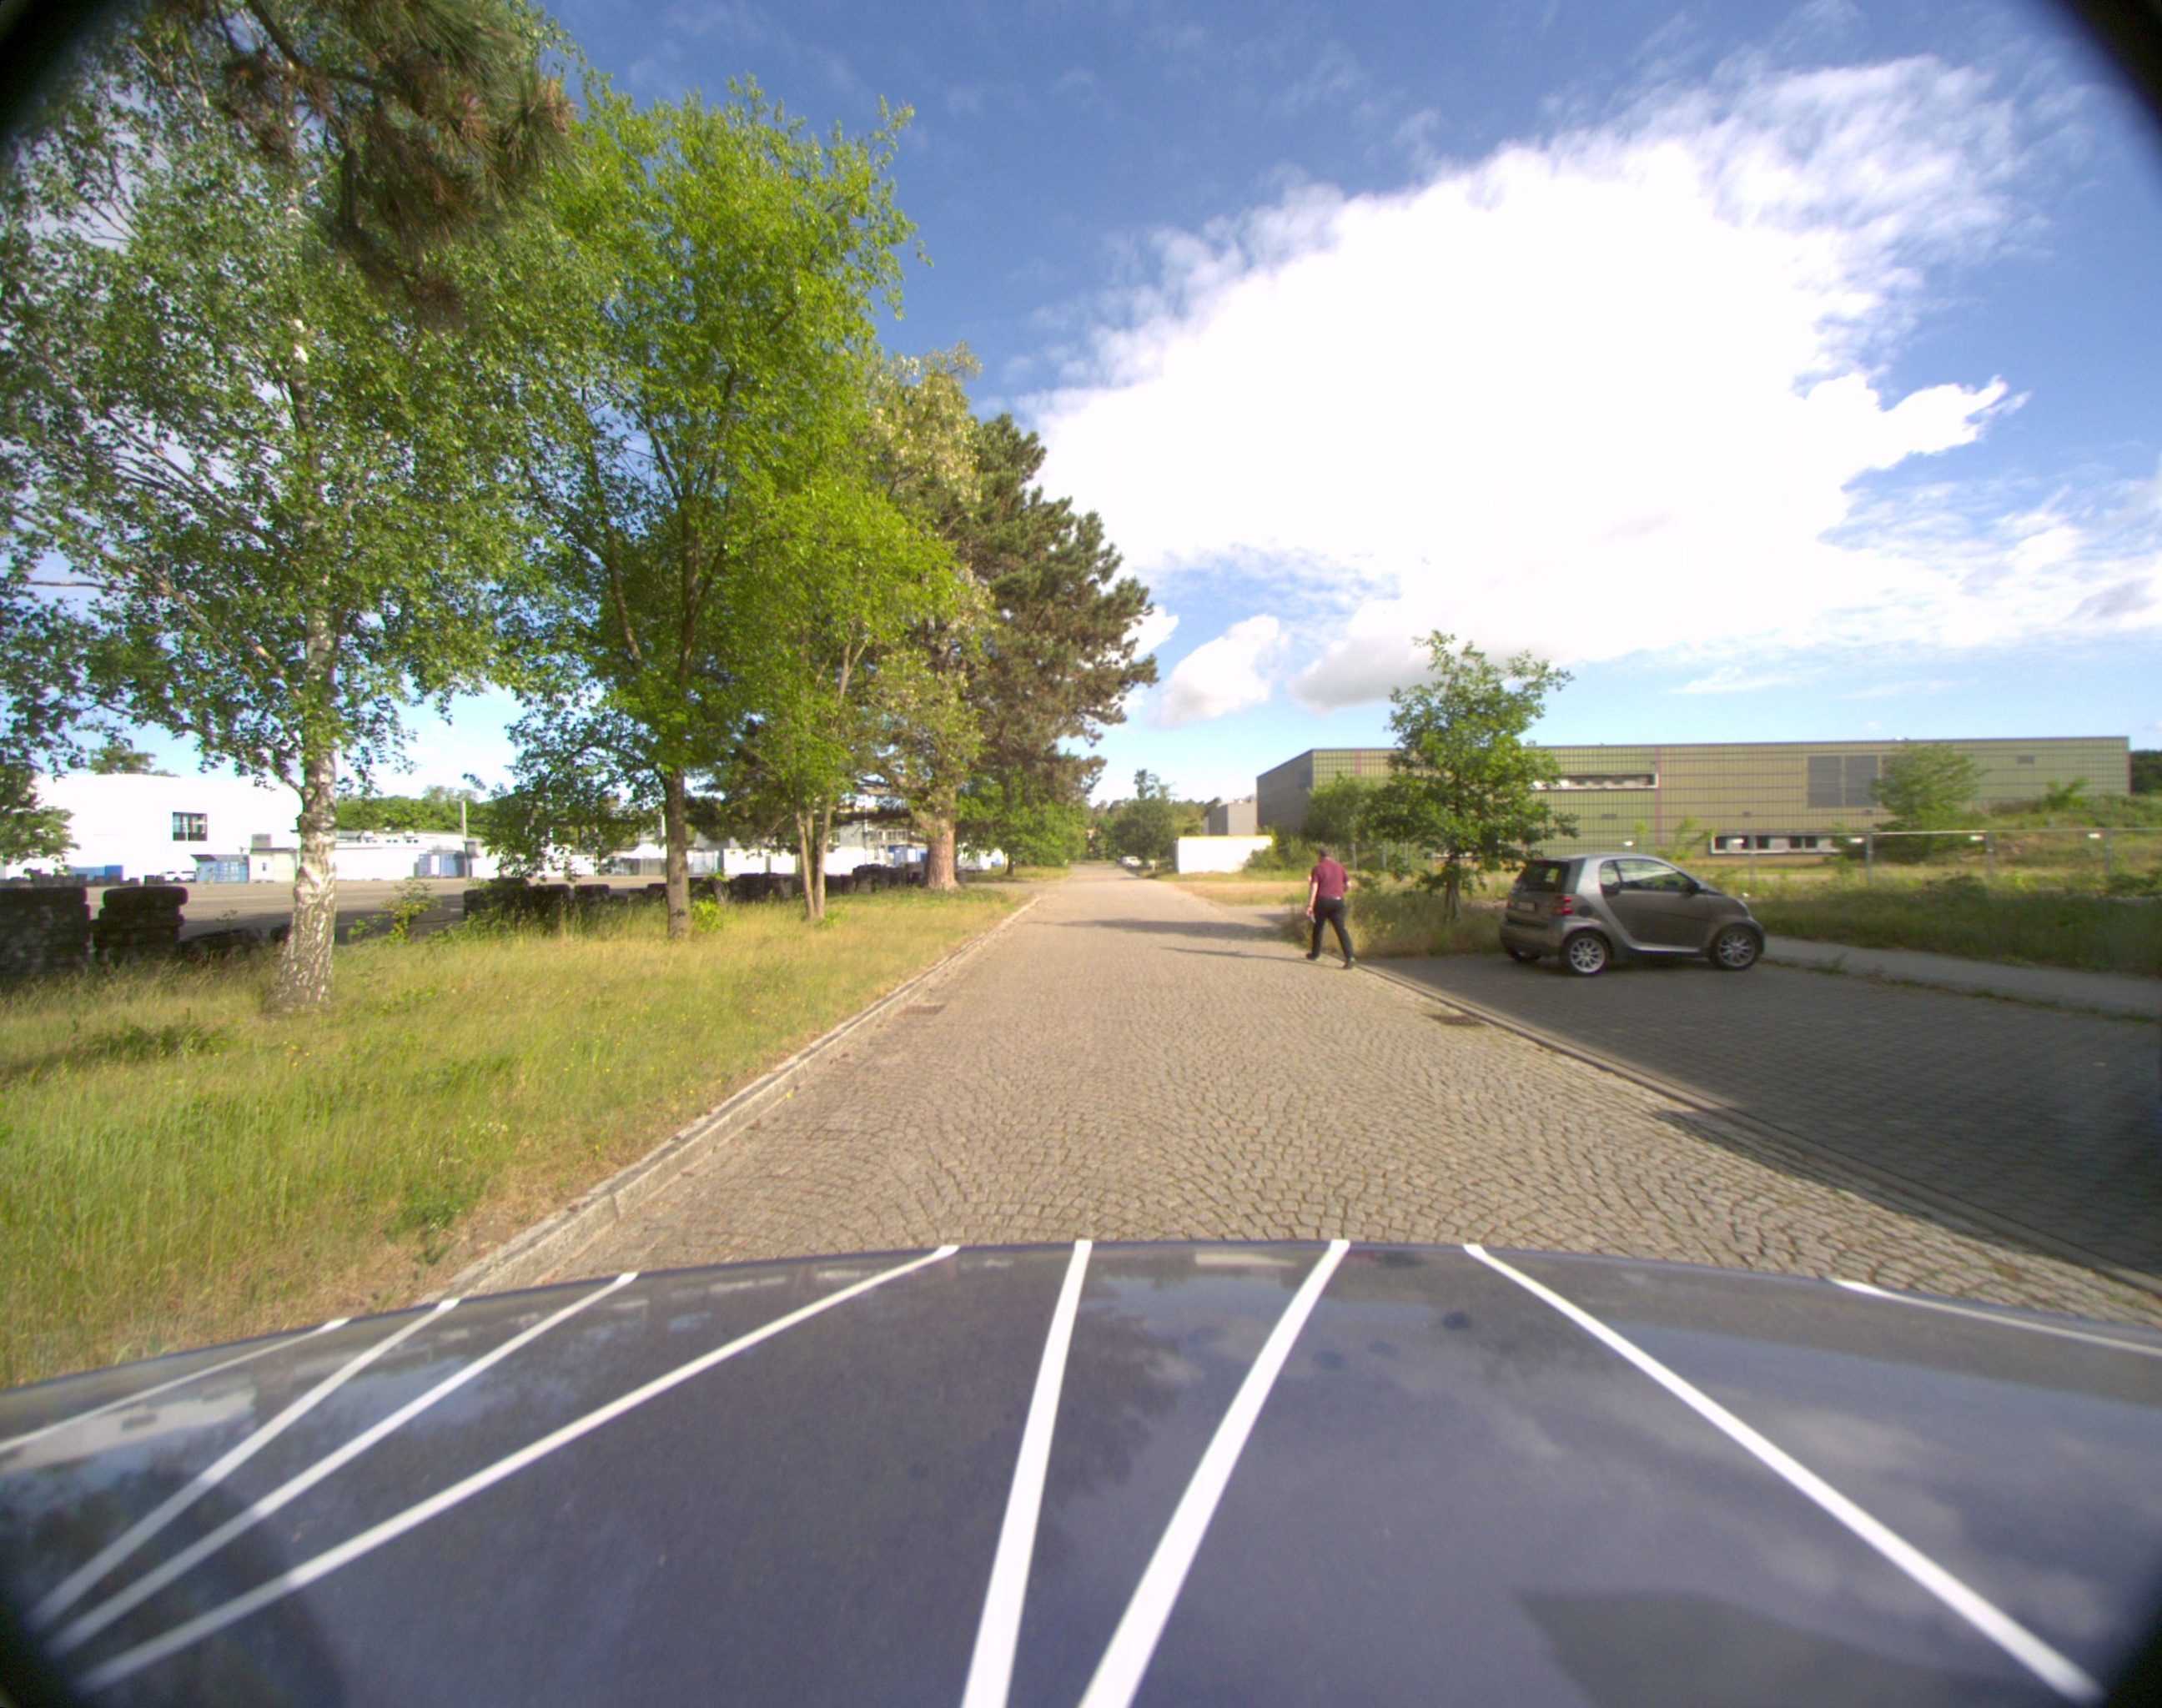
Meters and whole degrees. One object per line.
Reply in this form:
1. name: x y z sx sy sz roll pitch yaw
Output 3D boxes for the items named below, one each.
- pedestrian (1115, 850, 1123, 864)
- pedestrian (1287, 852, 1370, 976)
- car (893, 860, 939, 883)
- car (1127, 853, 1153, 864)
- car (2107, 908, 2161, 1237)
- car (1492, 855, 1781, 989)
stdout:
1. pedestrian: 4.971 0.409 100.306 0.908 1.796 0.983 -1 1 -6
2. pedestrian: 3.685 0.855 11.402 0.806 1.761 1.153 -1 1 -3
3. car: -11.260 1.151 52.137 1.846 1.440 4.002 -1 0 7
4. car: 9.072 0.702 117.477 3.996 1.678 2.001 -1 0 4
5. car: 6.961 0.894 2.751 4.268 1.455 1.681 -3 0 -1
6. car: 7.266 0.838 10.141 2.705 1.533 1.518 -2 1 0
